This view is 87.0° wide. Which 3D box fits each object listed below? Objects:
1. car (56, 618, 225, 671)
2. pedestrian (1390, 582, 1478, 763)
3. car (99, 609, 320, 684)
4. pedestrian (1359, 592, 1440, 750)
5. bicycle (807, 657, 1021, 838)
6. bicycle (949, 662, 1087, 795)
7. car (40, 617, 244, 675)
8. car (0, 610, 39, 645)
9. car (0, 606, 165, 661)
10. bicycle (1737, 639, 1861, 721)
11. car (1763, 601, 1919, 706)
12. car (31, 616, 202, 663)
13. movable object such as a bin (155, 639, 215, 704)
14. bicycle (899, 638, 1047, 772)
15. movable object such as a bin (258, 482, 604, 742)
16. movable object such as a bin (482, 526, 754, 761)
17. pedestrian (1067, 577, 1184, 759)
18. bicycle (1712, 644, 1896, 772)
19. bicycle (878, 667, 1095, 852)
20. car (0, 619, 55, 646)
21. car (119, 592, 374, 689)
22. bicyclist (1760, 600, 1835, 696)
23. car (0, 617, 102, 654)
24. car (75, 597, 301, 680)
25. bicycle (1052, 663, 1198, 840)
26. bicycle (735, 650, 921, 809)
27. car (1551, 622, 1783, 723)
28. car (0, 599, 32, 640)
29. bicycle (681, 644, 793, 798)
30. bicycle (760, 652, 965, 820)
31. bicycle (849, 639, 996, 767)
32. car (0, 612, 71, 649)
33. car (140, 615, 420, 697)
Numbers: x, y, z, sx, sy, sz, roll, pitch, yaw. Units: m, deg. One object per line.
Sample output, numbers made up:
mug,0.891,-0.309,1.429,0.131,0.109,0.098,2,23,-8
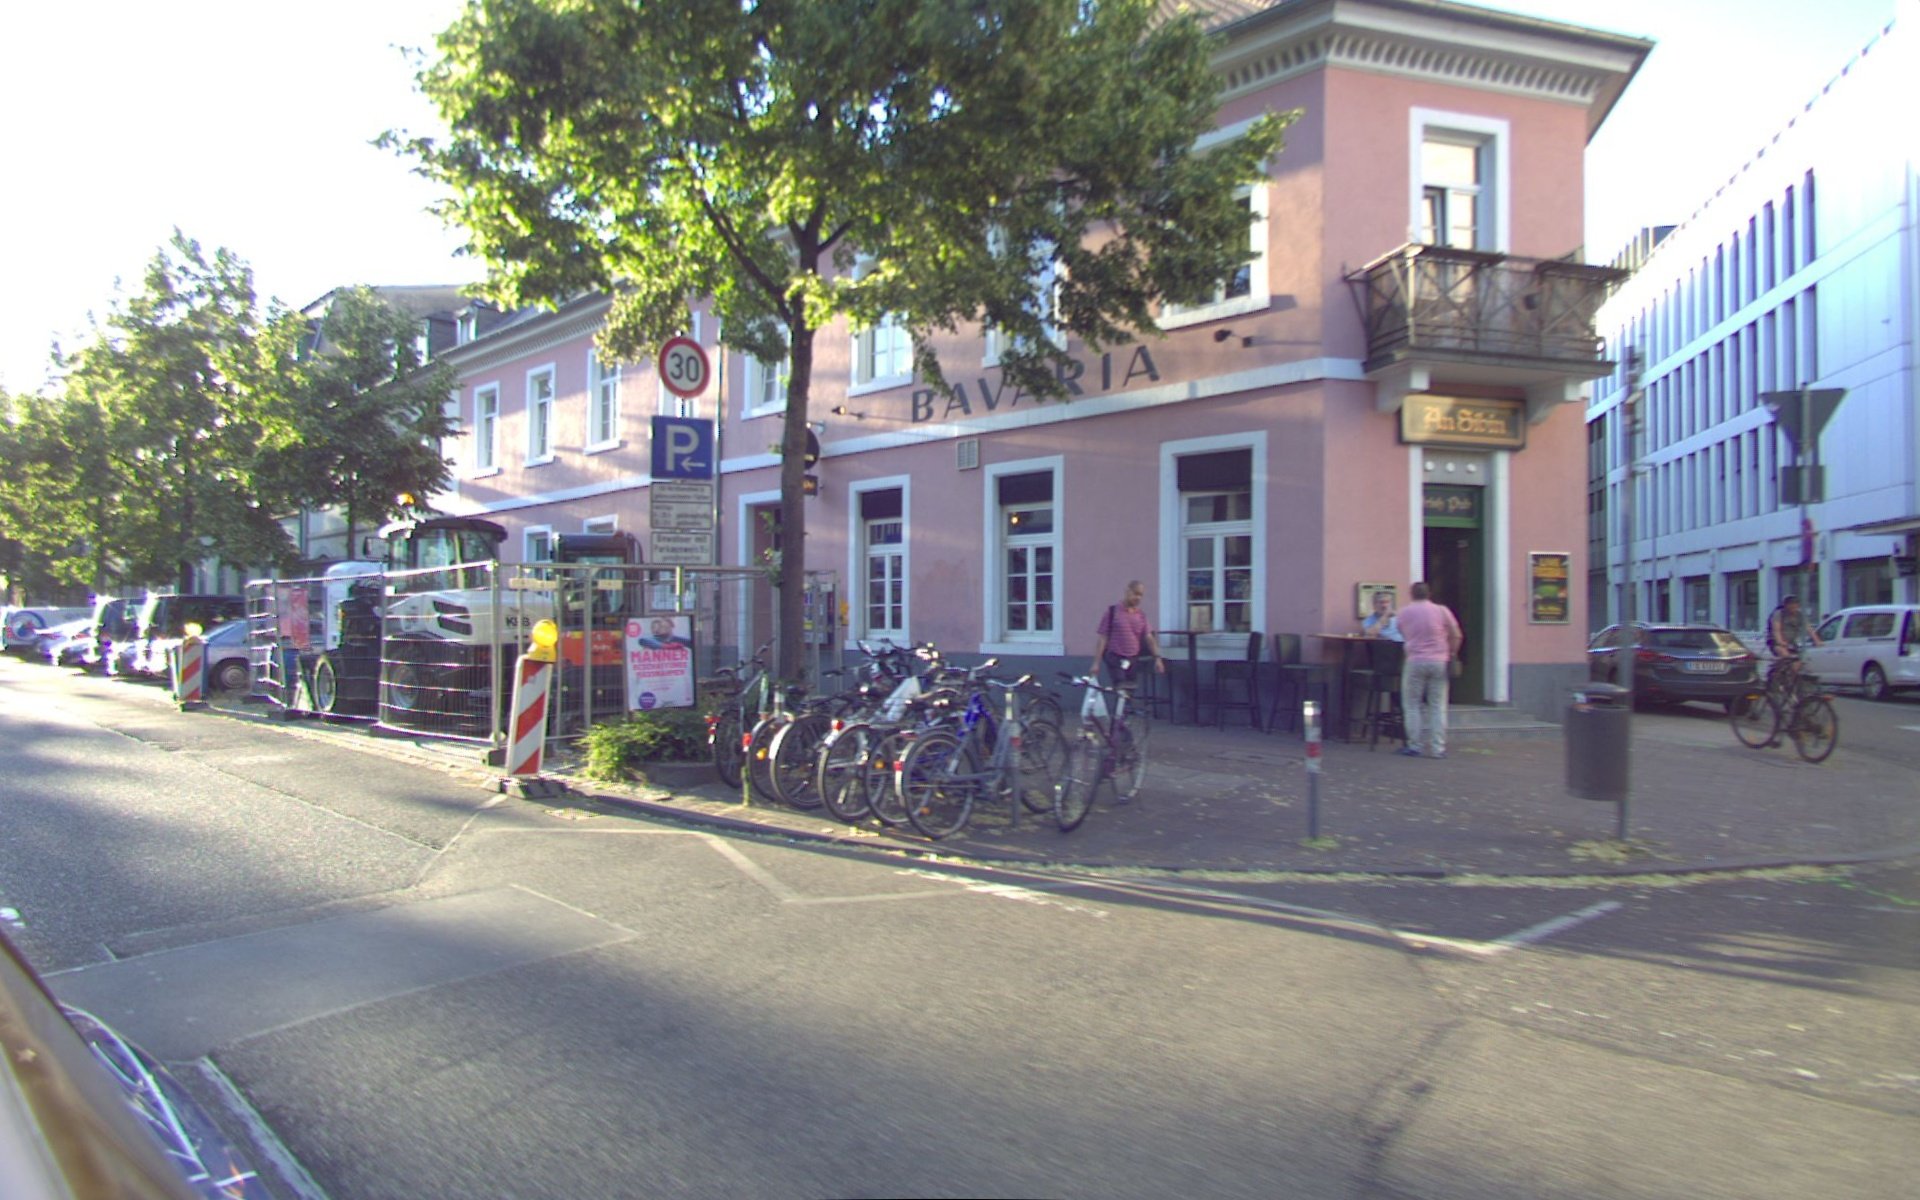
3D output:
car,-25.507,1.333,31.572,1.905,1.512,3.880,-1,-1,43
pedestrian,4.787,0.702,10.224,0.718,1.750,0.501,2,0,32
car,-18.308,1.067,24.824,1.859,1.649,4.086,-1,-1,41
pedestrian,4.842,0.753,11.150,0.718,1.662,0.501,2,0,32
bicycle,-0.298,1.028,7.503,1.662,1.086,0.445,-2,2,-41
bicycle,0.525,1.075,8.775,0.445,0.987,1.309,0,0,44
car,-23.503,1.264,29.229,1.838,1.512,4.287,-1,-1,36
car,-55.949,1.583,58.044,1.919,1.968,4.451,-1,-2,43
car,-33.270,1.247,38.203,1.972,1.922,4.820,-1,-2,41
bicycle,13.327,1.237,16.160,0.580,1.202,2.116,-2,-2,13
car,18.427,1.025,20.137,2.050,1.881,4.510,1,-1,13
car,-29.446,1.329,35.422,1.734,1.496,4.429,-1,-1,43
movable object such as a bin,-13.839,1.264,18.080,0.883,1.113,0.682,-1,-3,43
bicycle,0.159,0.984,9.981,0.445,1.157,1.664,0,0,44
movable object such as a bin,-7.638,0.190,14.379,5.300,2.991,2.597,-1,-2,41
movable object such as a bin,-4.260,0.524,13.786,2.278,2.514,5.762,0,-1,-6
pedestrian,1.669,0.672,10.333,1.025,1.779,0.819,0,-1,-2
bicycle,9.199,1.127,11.139,0.579,1.202,1.938,1,-1,7
bicycle,0.230,1.052,7.102,1.662,1.029,0.445,-2,2,-41
car,-53.522,1.819,56.661,1.593,1.450,4.107,-1,-2,42
car,-16.225,0.852,23.219,1.963,1.991,4.439,-1,-1,39
bicyclist,13.299,0.758,16.092,0.580,1.469,0.740,-2,-2,13
car,-39.393,1.505,43.150,1.962,1.495,3.996,-1,-2,40
car,-20.261,0.966,26.701,2.067,1.991,4.436,-1,-1,41
bicycle,1.243,1.047,7.426,0.470,1.067,1.474,0,0,35
bicycle,-1.059,1.023,8.470,0.444,1.086,1.665,0,2,40
car,11.812,1.132,17.322,1.982,1.482,4.501,-1,-2,18
car,-63.774,1.295,65.262,2.170,2.641,5.600,-1,-1,41
bicycle,-1.916,1.003,8.898,0.439,1.125,1.545,0,1,8
bicycle,-0.729,1.019,8.001,1.662,1.086,0.445,-2,2,-41
bicycle,-0.356,1.006,10.397,0.445,1.157,1.664,0,0,44
car,-48.029,1.539,51.451,1.806,1.820,4.093,-1,-2,42
car,-13.977,1.071,21.019,1.893,1.481,4.543,-1,-1,44
